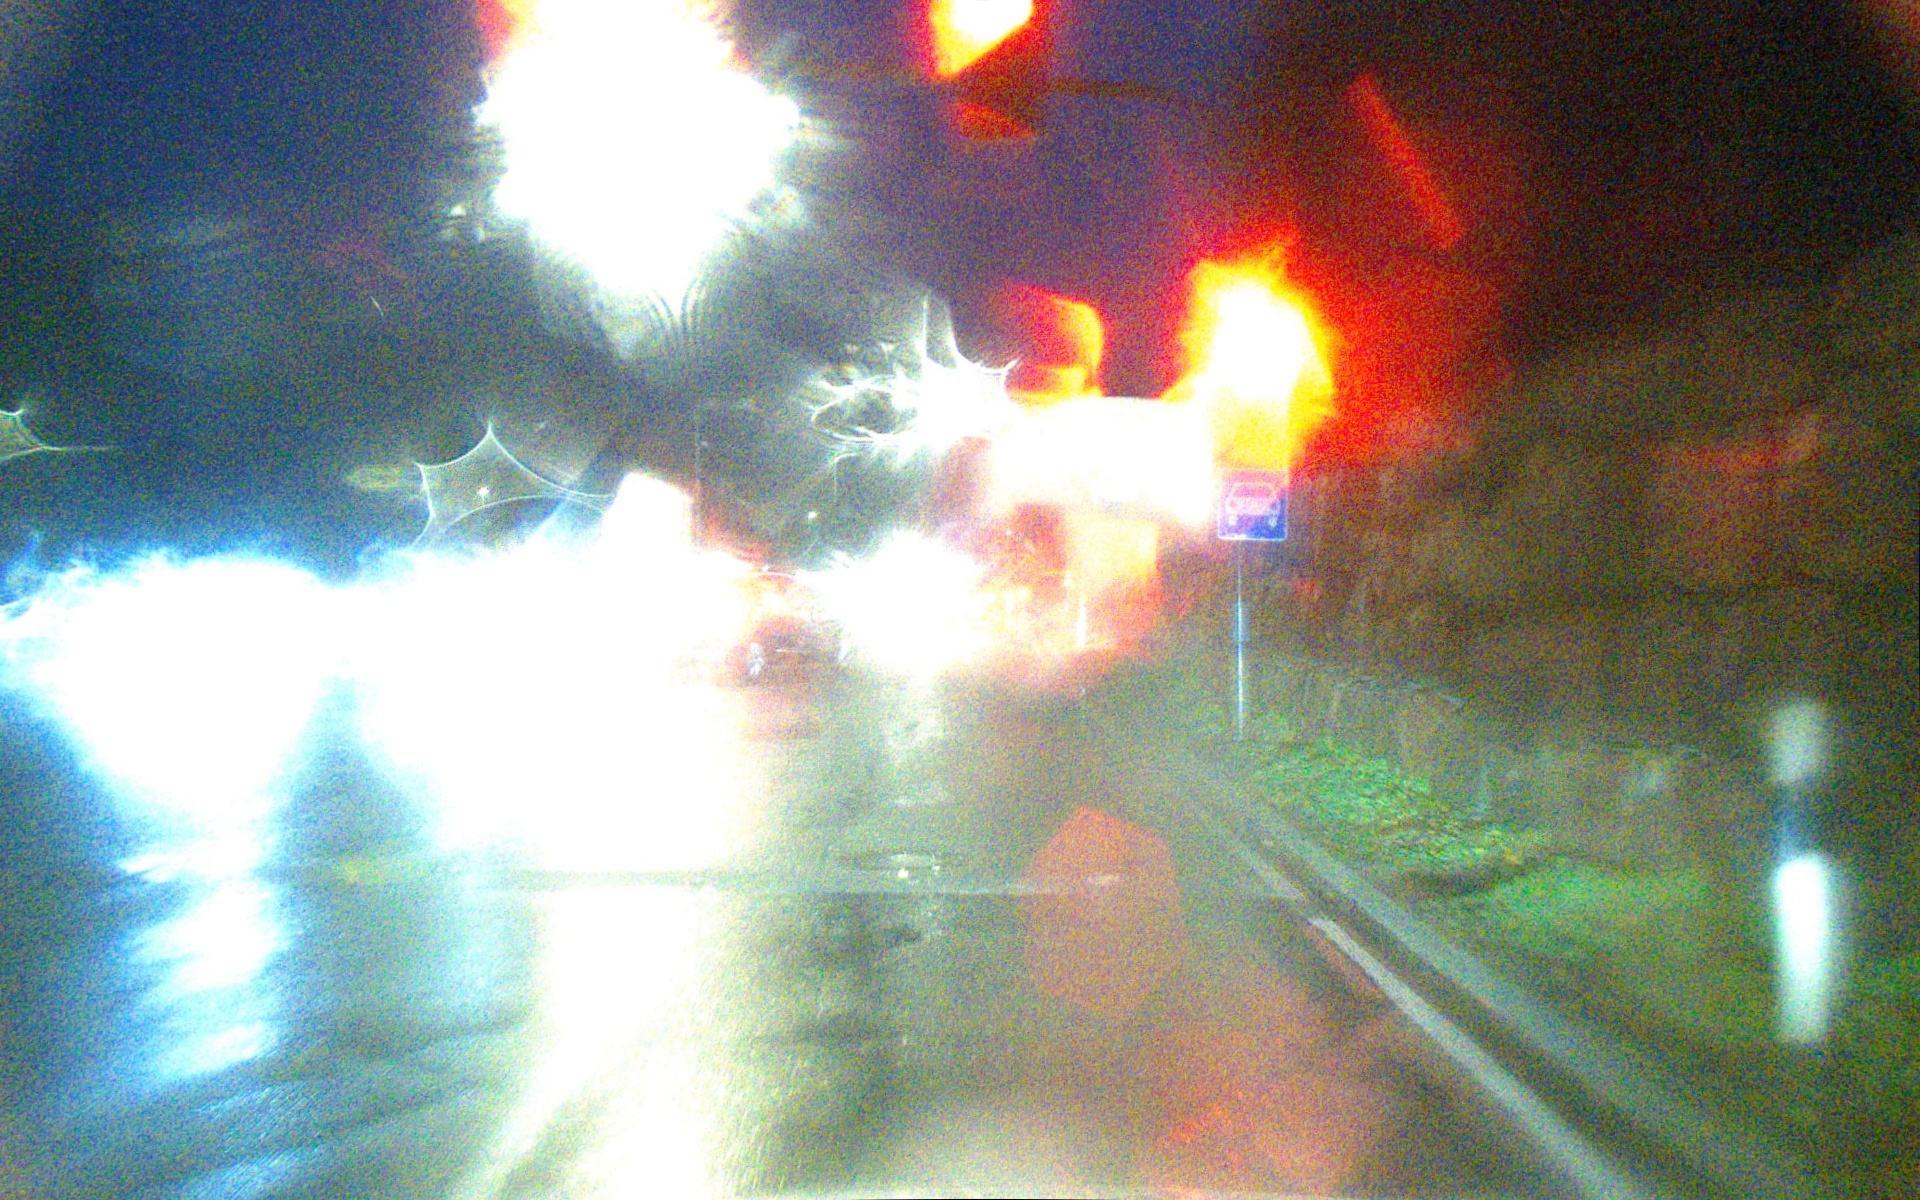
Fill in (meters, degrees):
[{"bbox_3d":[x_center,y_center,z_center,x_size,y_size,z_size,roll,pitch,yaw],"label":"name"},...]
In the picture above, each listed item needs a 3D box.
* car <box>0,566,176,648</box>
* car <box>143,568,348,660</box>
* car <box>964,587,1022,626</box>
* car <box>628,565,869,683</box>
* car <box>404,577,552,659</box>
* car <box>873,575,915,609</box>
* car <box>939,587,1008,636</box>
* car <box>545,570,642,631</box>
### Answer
[{"bbox_3d":[-21.158,0.135,39.759,3.957,1.863,1.699,-1,1,-37],"label":"car"},{"bbox_3d":[-13.407,0.224,31.371,1.755,1.599,4.914,0,0,0],"label":"car"},{"bbox_3d":[1.188,0.250,61.287,2.064,1.363,4.294,0,0,0],"label":"car"},{"bbox_3d":[-3.103,0.351,25.149,1.952,1.639,4.103,0,-1,20],"label":"car"},{"bbox_3d":[-9.993,0.326,34.660,1.664,1.599,4.712,0,0,1],"label":"car"},{"bbox_3d":[-3.445,-0.391,87.011,1.681,1.733,4.145,0,0,5],"label":"car"},{"bbox_3d":[0.408,0.370,51.927,2.060,1.464,3.999,0,0,0],"label":"car"},{"bbox_3d":[-9.635,0.030,43.728,1.552,1.552,3.653,0,-1,4],"label":"car"}]
